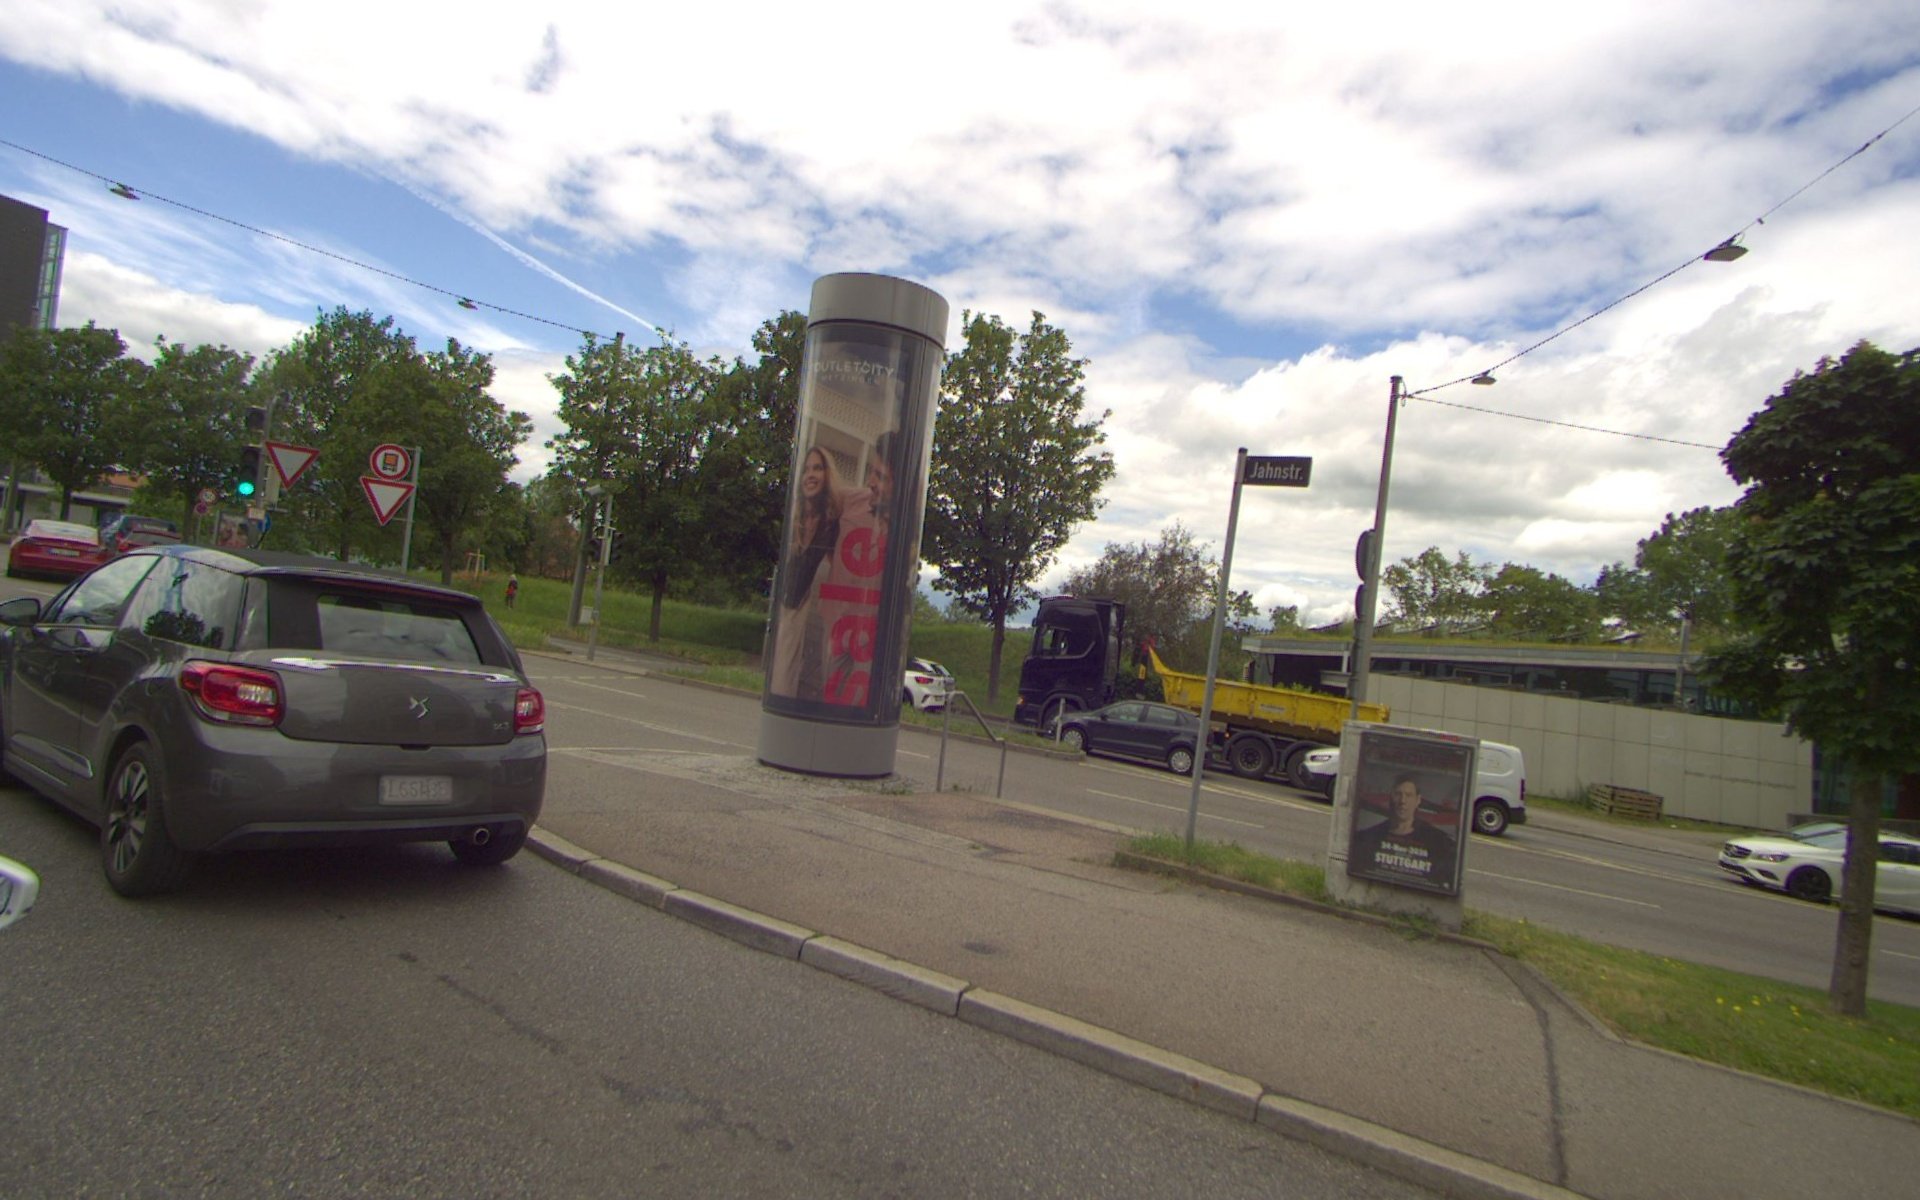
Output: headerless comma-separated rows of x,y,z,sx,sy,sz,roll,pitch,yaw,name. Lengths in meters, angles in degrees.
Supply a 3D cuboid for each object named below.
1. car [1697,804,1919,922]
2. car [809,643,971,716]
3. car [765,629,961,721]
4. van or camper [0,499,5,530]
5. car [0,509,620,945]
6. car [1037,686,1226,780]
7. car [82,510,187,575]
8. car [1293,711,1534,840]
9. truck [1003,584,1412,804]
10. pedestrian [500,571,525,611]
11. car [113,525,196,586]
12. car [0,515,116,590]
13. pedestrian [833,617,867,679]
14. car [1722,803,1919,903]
16.674,4.989,18.787,4.206,1.391,1.759,8,-2,13,car
-1.999,2.288,29.094,4.081,1.458,1.992,7,-3,19,car
-2.448,1.896,25.473,4.404,1.547,1.858,8,-2,19,car
-44.396,-3.785,43.968,4.327,1.940,2.001,8,-1,21,van or camper
-3.910,0.445,5.507,3.998,1.477,1.704,6,-3,35,car
3.937,2.987,23.029,3.903,1.389,1.656,8,-2,19,car
-30.733,-2.154,37.411,4.640,1.879,1.903,6,-3,39,car
9.373,3.598,21.173,4.206,1.816,1.758,8,-2,17,car
6.169,2.260,25.849,9.280,3.969,2.832,7,-2,18,truck
-18.920,-0.372,42.520,0.689,1.626,0.542,7,4,15,pedestrian
-24.577,-1.388,30.711,1.738,1.497,3.679,10,-3,-39,car
-22.216,-1.197,24.845,1.868,1.434,4.391,10,-3,-41,car
-3.697,1.612,33.744,0.748,1.943,0.583,6,4,-30,pedestrian
19.421,5.582,22.015,3.909,1.348,1.689,8,-2,17,car
